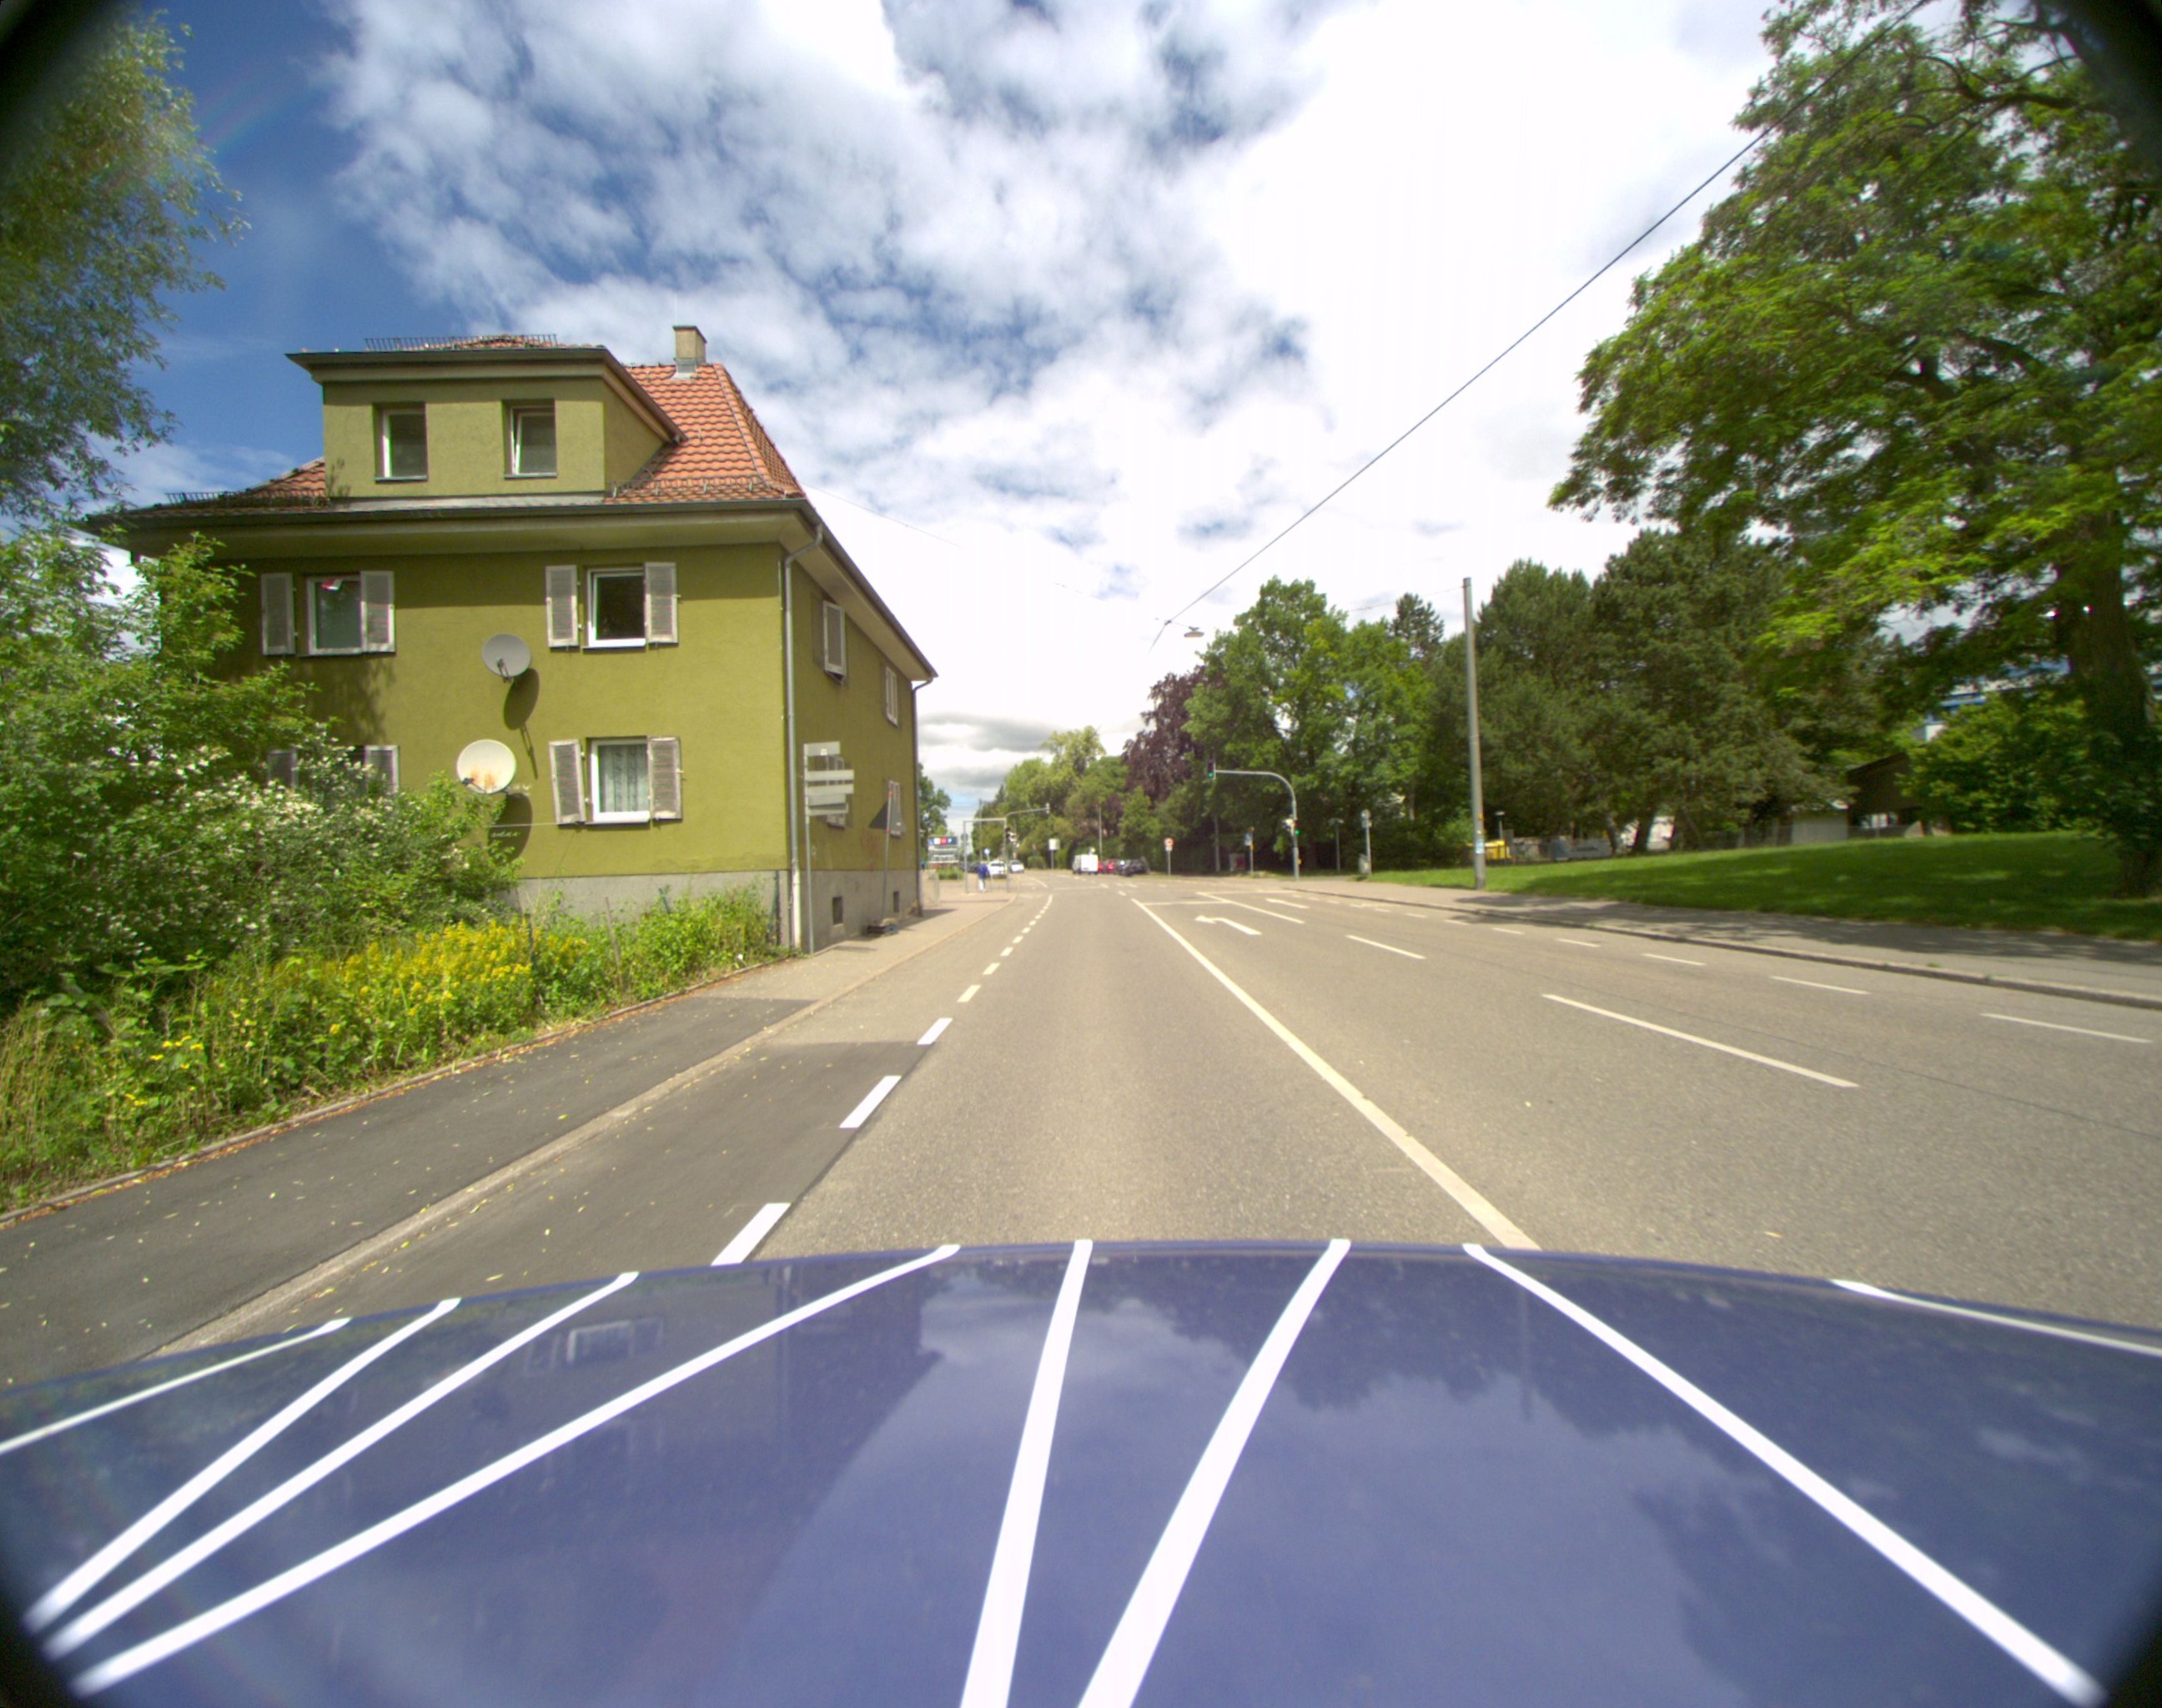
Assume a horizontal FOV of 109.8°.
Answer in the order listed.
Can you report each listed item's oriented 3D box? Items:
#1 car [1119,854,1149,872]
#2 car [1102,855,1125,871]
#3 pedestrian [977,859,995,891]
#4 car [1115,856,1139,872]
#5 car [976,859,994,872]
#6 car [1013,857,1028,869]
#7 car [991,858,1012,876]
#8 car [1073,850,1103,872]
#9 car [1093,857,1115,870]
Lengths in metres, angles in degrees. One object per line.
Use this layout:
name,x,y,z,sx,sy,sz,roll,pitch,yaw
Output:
car,4.720,0.755,67.869,1.688,1.407,4.398,-3,1,-9
car,3.287,0.921,76.992,1.524,1.469,3.321,-3,0,-12
pedestrian,-4.750,1.023,38.018,0.826,1.563,0.987,-1,1,-4
car,4.337,0.931,72.602,1.560,1.404,3.191,-3,1,-9
car,-12.256,1.430,97.306,1.707,1.522,3.995,-3,0,-15
car,-7.706,1.169,96.885,1.552,1.418,3.853,-3,0,-9
car,-7.249,1.145,69.037,1.796,1.522,3.918,1,0,-9
car,0.639,0.668,75.765,2.000,2.011,5.347,-1,0,-10
car,2.491,1.007,81.998,1.531,1.358,3.371,-3,1,-12
